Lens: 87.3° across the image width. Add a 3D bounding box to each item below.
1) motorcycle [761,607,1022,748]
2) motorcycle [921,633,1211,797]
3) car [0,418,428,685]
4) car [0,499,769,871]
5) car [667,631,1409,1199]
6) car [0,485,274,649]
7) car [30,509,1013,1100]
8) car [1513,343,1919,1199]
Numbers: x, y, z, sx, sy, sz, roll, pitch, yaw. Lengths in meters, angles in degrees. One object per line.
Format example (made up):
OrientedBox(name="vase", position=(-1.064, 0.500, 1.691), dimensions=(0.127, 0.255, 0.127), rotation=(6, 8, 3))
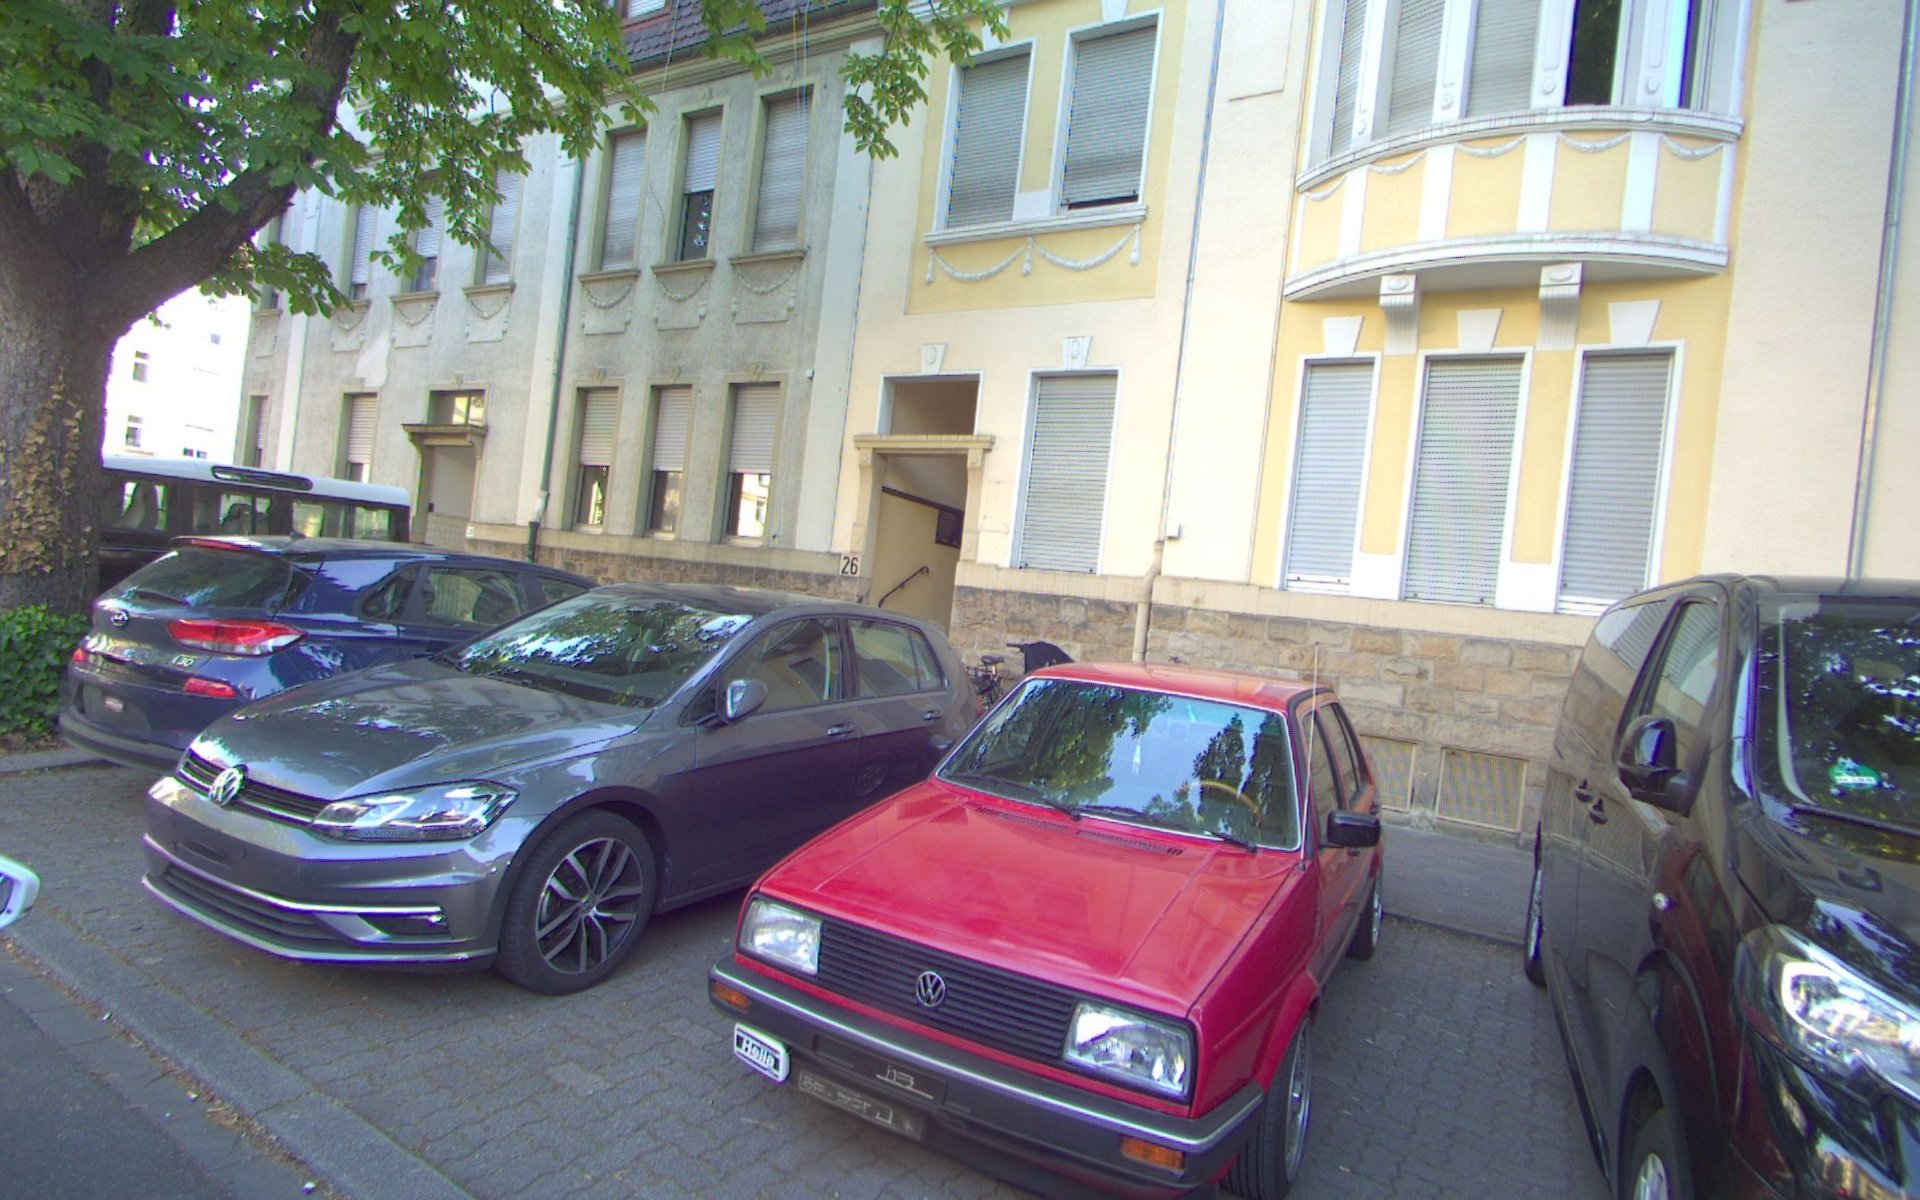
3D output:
OrientedBox(name="motorcycle", position=(-0.792, 0.774, 10.793), dimensions=(2.822, 1.087, 0.694), rotation=(7, 2, 31))
OrientedBox(name="motorcycle", position=(0.954, 0.994, 9.404), dimensions=(2.439, 1.087, 0.959), rotation=(7, 2, 32))
OrientedBox(name="car", position=(-7.594, -0.371, 9.244), dimensions=(1.671, 2.061, 4.473), rotation=(6, 0, 28))
OrientedBox(name="car", position=(-3.087, 0.423, 6.208), dimensions=(1.679, 1.470, 3.730), rotation=(6, 0, 28))
OrientedBox(name="car", position=(0.874, 0.943, 4.313), dimensions=(1.601, 1.332, 4.144), rotation=(6, 0, 27))
OrientedBox(name="car", position=(-9.989, -0.388, 10.945), dimensions=(1.679, 1.589, 3.730), rotation=(6, 0, 28))
OrientedBox(name="car", position=(-1.433, 0.619, 4.825), dimensions=(1.693, 1.470, 4.060), rotation=(6, 0, 28))
OrientedBox(name="car", position=(2.851, 0.867, 2.886), dimensions=(1.864, 1.898, 4.759), rotation=(6, 0, 27))
